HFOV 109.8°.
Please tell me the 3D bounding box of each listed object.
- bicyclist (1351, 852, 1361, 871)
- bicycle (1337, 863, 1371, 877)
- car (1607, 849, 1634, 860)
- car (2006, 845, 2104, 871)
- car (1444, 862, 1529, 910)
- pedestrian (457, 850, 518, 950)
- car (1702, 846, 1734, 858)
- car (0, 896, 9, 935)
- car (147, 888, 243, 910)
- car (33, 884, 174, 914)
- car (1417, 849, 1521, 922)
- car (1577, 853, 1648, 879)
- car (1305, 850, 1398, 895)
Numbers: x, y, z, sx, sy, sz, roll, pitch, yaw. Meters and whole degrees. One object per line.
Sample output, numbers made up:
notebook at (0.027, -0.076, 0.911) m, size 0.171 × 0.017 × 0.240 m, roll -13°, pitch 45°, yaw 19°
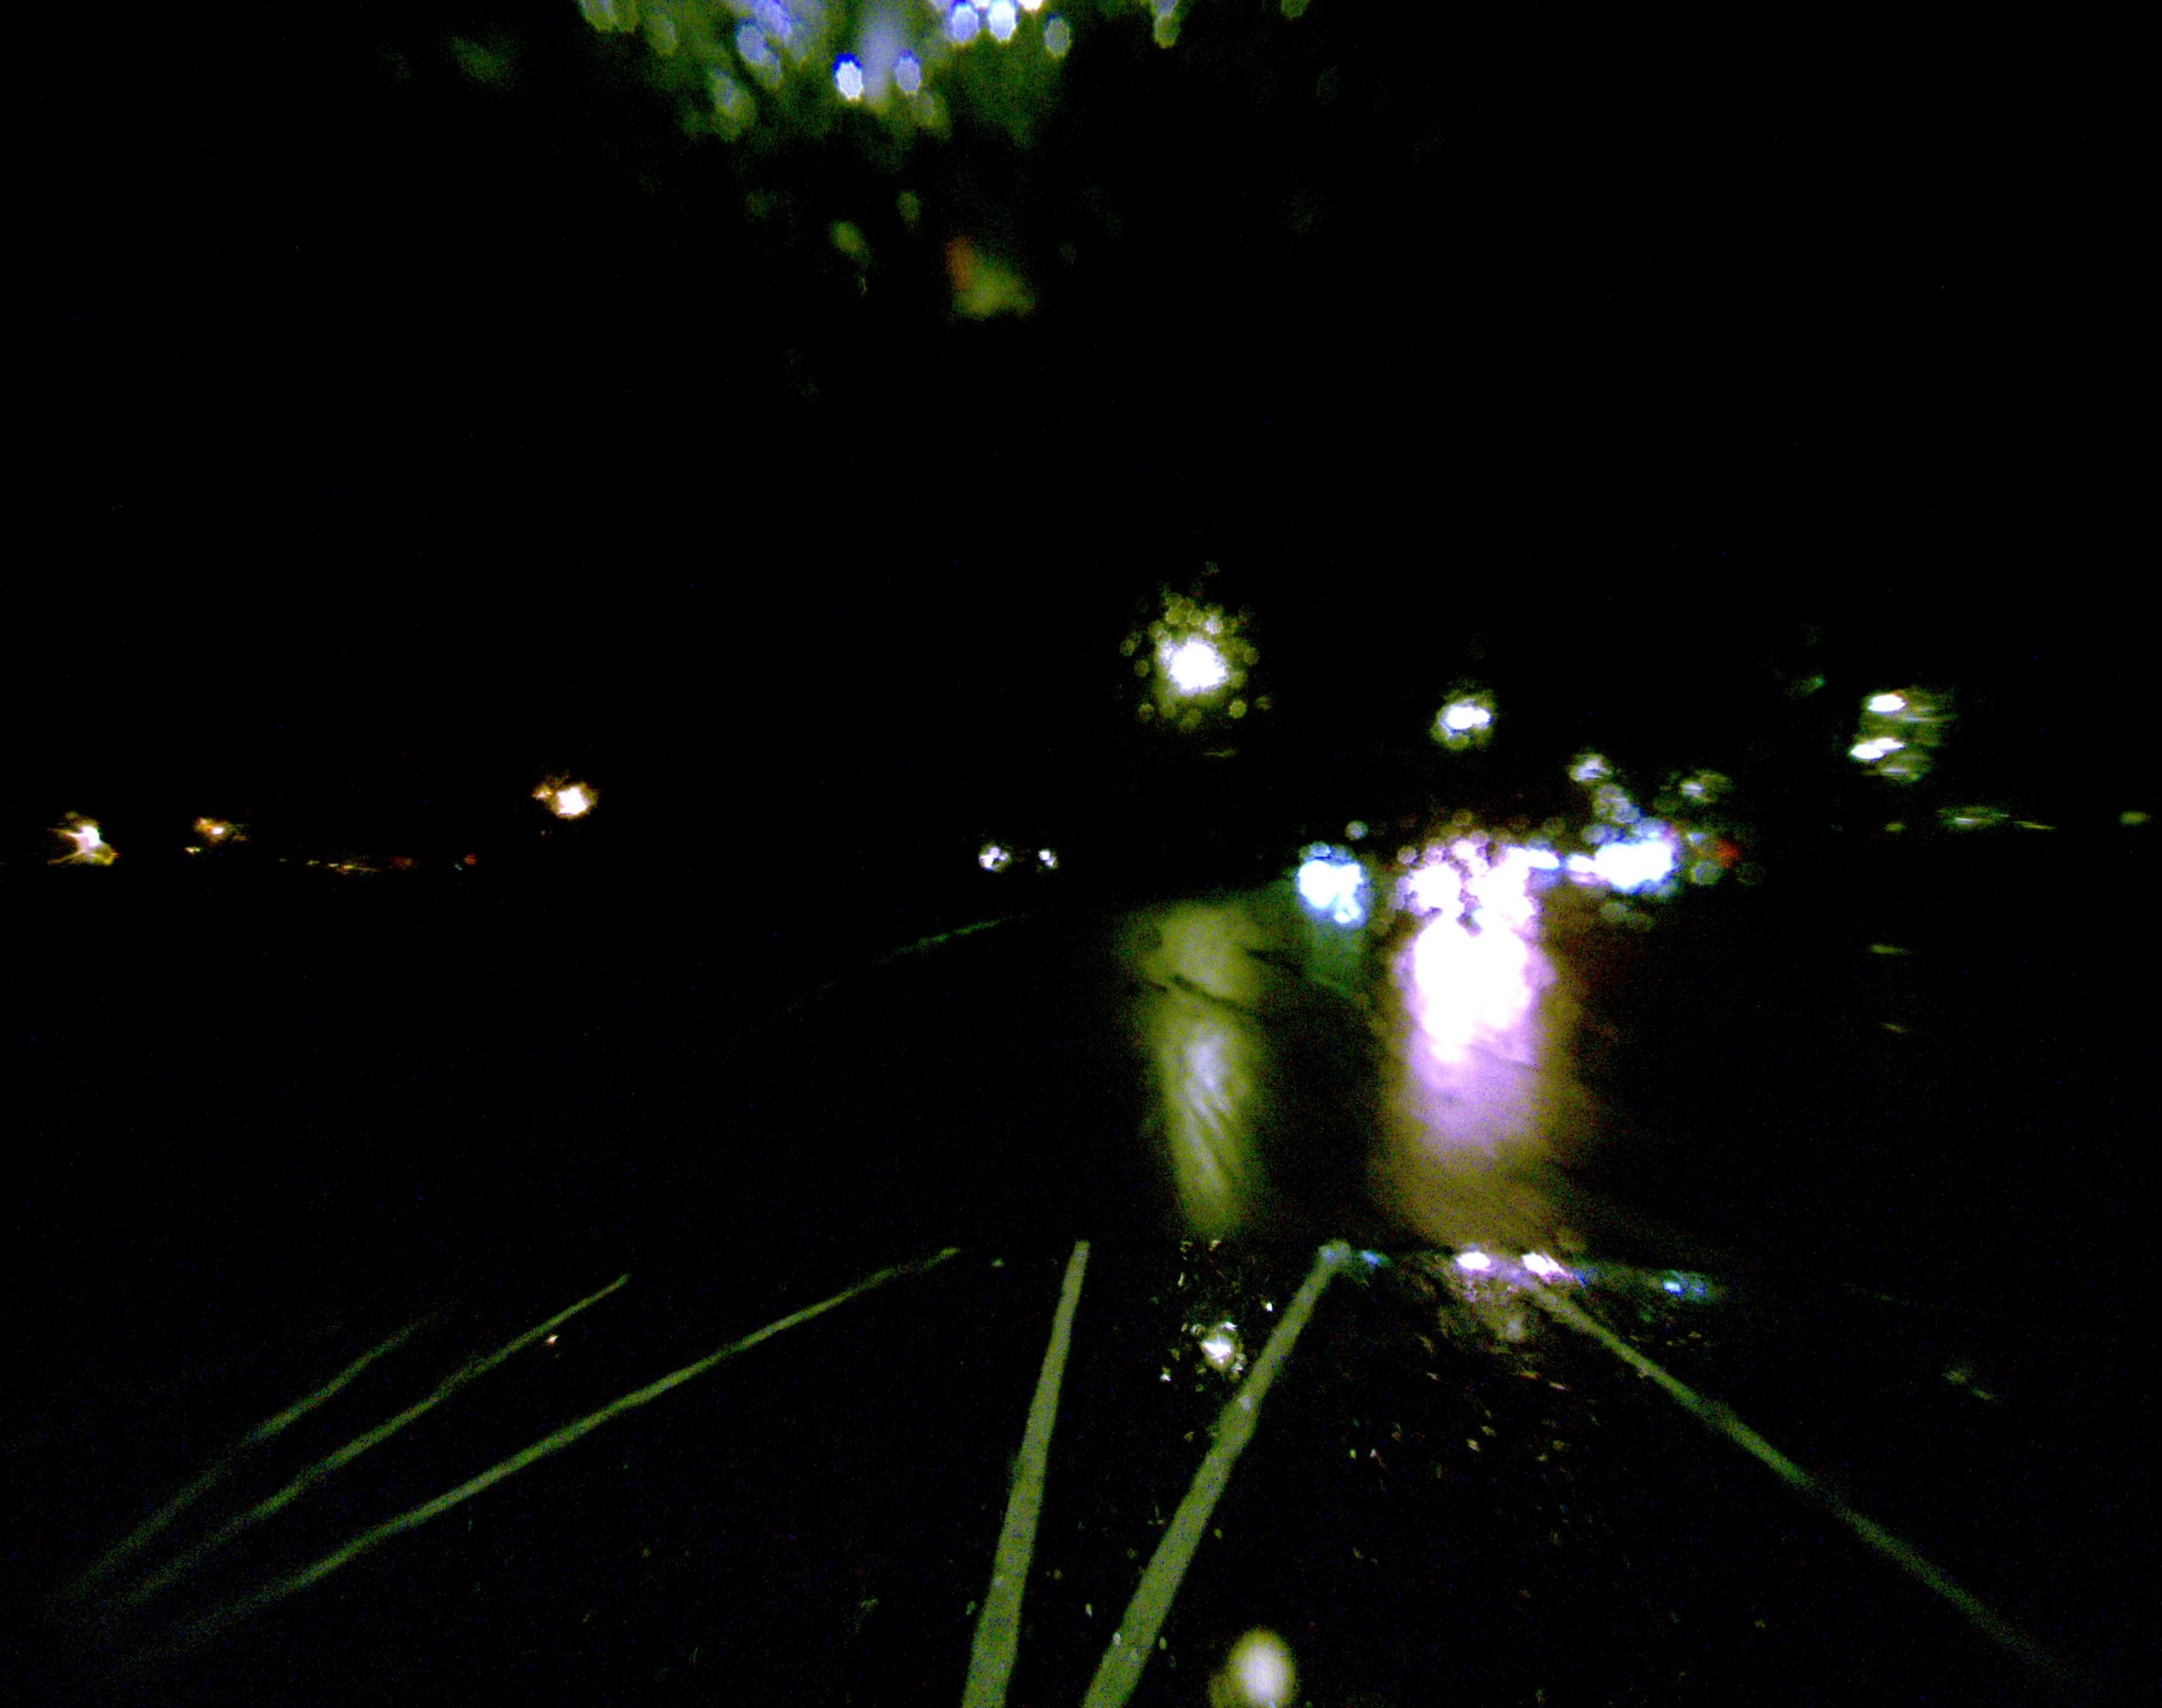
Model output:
bicyclist at (21.319, 0.550, 58.907) m, size 0.604 × 1.438 × 0.617 m, roll -2°, pitch -1°, yaw 20°
bicycle at (21.154, 1.216, 58.935) m, size 2.416 × 0.970 × 0.622 m, roll -3°, pitch -1°, yaw 21°
car at (91.237, 0.146, 128.606) m, size 2.066 × 1.705 × 5.047 m, roll -2°, pitch -1°, yaw 15°
car at (64.787, 0.284, 50.640) m, size 1.771 × 1.608 × 3.876 m, roll -2°, pitch -1°, yaw 7°
car at (16.171, 1.235, 30.238) m, size 1.830 × 1.696 × 4.203 m, roll -3°, pitch -1°, yaw 44°
pedestrian at (-11.580, 0.889, 14.827) m, size 0.652 × 1.890 × 0.730 m, roll -3°, pitch -1°, yaw 33°
car at (79.311, -0.270, 94.678) m, size 1.826 × 1.364 × 3.954 m, roll -3°, pitch -1°, yaw 21°
car at (-43.632, 2.417, 28.324) m, size 3.919 × 1.527 × 1.717 m, roll -1°, pitch -1°, yaw -40°
car at (-73.919, 3.741, 63.512) m, size 5.005 × 1.527 × 1.717 m, roll -1°, pitch -1°, yaw -40°
car at (-59.593, 2.709, 46.497) m, size 5.005 × 1.527 × 1.717 m, roll -1°, pitch -1°, yaw -40°
car at (9.476, 0.688, 18.337) m, size 1.830 × 1.517 × 4.884 m, roll -3°, pitch -1°, yaw 31°
car at (35.857, 0.819, 51.248) m, size 3.952 × 1.612 × 1.949 m, roll -2°, pitch -1°, yaw -20°
car at (11.436, 0.748, 31.966) m, size 1.947 × 1.709 × 4.451 m, roll -3°, pitch -1°, yaw 44°
